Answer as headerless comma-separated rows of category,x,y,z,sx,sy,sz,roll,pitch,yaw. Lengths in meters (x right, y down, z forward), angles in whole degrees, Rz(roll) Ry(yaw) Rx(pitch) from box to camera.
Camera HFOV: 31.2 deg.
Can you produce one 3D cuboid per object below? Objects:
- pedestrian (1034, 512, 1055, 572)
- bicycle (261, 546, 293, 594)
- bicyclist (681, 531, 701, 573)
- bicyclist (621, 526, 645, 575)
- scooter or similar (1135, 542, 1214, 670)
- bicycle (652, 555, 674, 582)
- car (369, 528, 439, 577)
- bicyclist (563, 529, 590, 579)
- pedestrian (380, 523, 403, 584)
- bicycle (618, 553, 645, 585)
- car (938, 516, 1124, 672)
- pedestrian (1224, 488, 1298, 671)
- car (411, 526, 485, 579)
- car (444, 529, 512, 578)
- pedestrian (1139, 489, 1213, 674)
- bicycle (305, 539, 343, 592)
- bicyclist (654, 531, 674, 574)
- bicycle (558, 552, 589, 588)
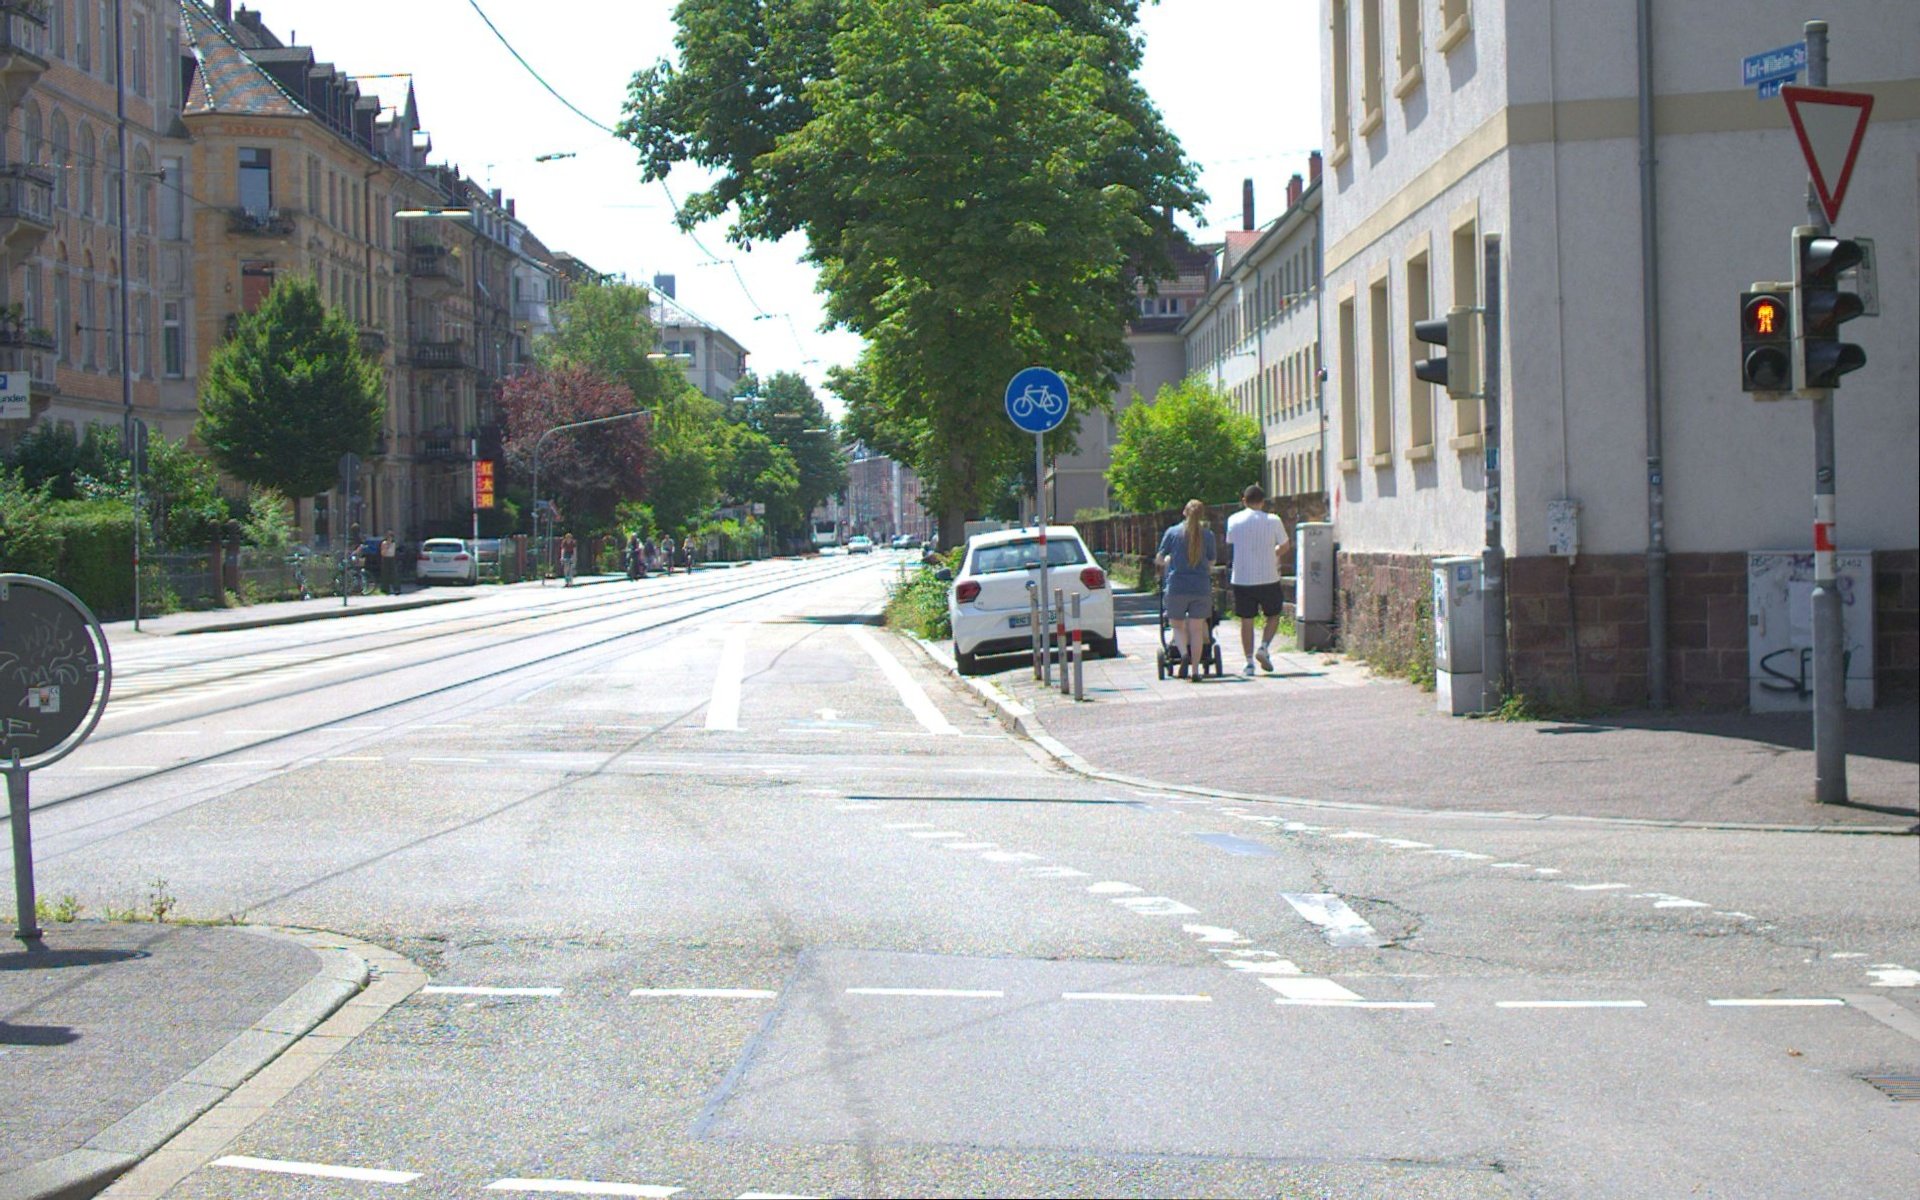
pedestrian,2.222,-1.521,90.383,0.521,1.557,0.573,-1,1,-1
bicycle,-15.904,-0.706,80.035,0.677,1.061,1.919,-1,1,-11
bicyclist,-11.558,-2.055,147.708,0.727,1.812,1.079,1,0,1
bicyclist,-11.893,-1.801,124.930,0.727,1.762,1.079,1,0,1
scooter or similar,1.994,0.050,31.848,0.557,1.151,1.204,1,0,12
bicycle,-12.760,-1.360,147.681,0.727,1.119,2.085,1,1,1
car,-20.020,-1.711,123.912,1.919,1.709,4.000,1,1,-1
bicyclist,-12.388,-1.487,111.098,0.727,1.623,1.079,1,0,1
pedestrian,-15.352,-1.256,92.831,0.521,1.653,0.529,-1,1,-1
bicycle,-11.911,-1.121,124.841,0.727,1.119,2.085,1,1,1
car,0.721,-0.085,37.325,1.815,1.511,4.000,-3,1,-1
pedestrian,2.729,-0.189,31.207,0.556,1.640,0.677,1,0,-4
car,-17.190,-1.587,115.575,1.919,1.709,4.000,1,1,-1
car,-17.334,-1.673,123.839,1.919,1.709,4.000,1,1,-1
pedestrian,1.942,-0.170,30.935,0.556,1.640,0.677,1,0,-4
bicycle,-15.661,-0.856,84.678,0.677,1.274,1.919,-1,1,-3
bicyclist,-12.728,-2.027,147.665,0.727,1.812,1.079,1,0,1
bicycle,-12.488,-0.967,111.108,0.727,1.119,2.085,1,1,1
